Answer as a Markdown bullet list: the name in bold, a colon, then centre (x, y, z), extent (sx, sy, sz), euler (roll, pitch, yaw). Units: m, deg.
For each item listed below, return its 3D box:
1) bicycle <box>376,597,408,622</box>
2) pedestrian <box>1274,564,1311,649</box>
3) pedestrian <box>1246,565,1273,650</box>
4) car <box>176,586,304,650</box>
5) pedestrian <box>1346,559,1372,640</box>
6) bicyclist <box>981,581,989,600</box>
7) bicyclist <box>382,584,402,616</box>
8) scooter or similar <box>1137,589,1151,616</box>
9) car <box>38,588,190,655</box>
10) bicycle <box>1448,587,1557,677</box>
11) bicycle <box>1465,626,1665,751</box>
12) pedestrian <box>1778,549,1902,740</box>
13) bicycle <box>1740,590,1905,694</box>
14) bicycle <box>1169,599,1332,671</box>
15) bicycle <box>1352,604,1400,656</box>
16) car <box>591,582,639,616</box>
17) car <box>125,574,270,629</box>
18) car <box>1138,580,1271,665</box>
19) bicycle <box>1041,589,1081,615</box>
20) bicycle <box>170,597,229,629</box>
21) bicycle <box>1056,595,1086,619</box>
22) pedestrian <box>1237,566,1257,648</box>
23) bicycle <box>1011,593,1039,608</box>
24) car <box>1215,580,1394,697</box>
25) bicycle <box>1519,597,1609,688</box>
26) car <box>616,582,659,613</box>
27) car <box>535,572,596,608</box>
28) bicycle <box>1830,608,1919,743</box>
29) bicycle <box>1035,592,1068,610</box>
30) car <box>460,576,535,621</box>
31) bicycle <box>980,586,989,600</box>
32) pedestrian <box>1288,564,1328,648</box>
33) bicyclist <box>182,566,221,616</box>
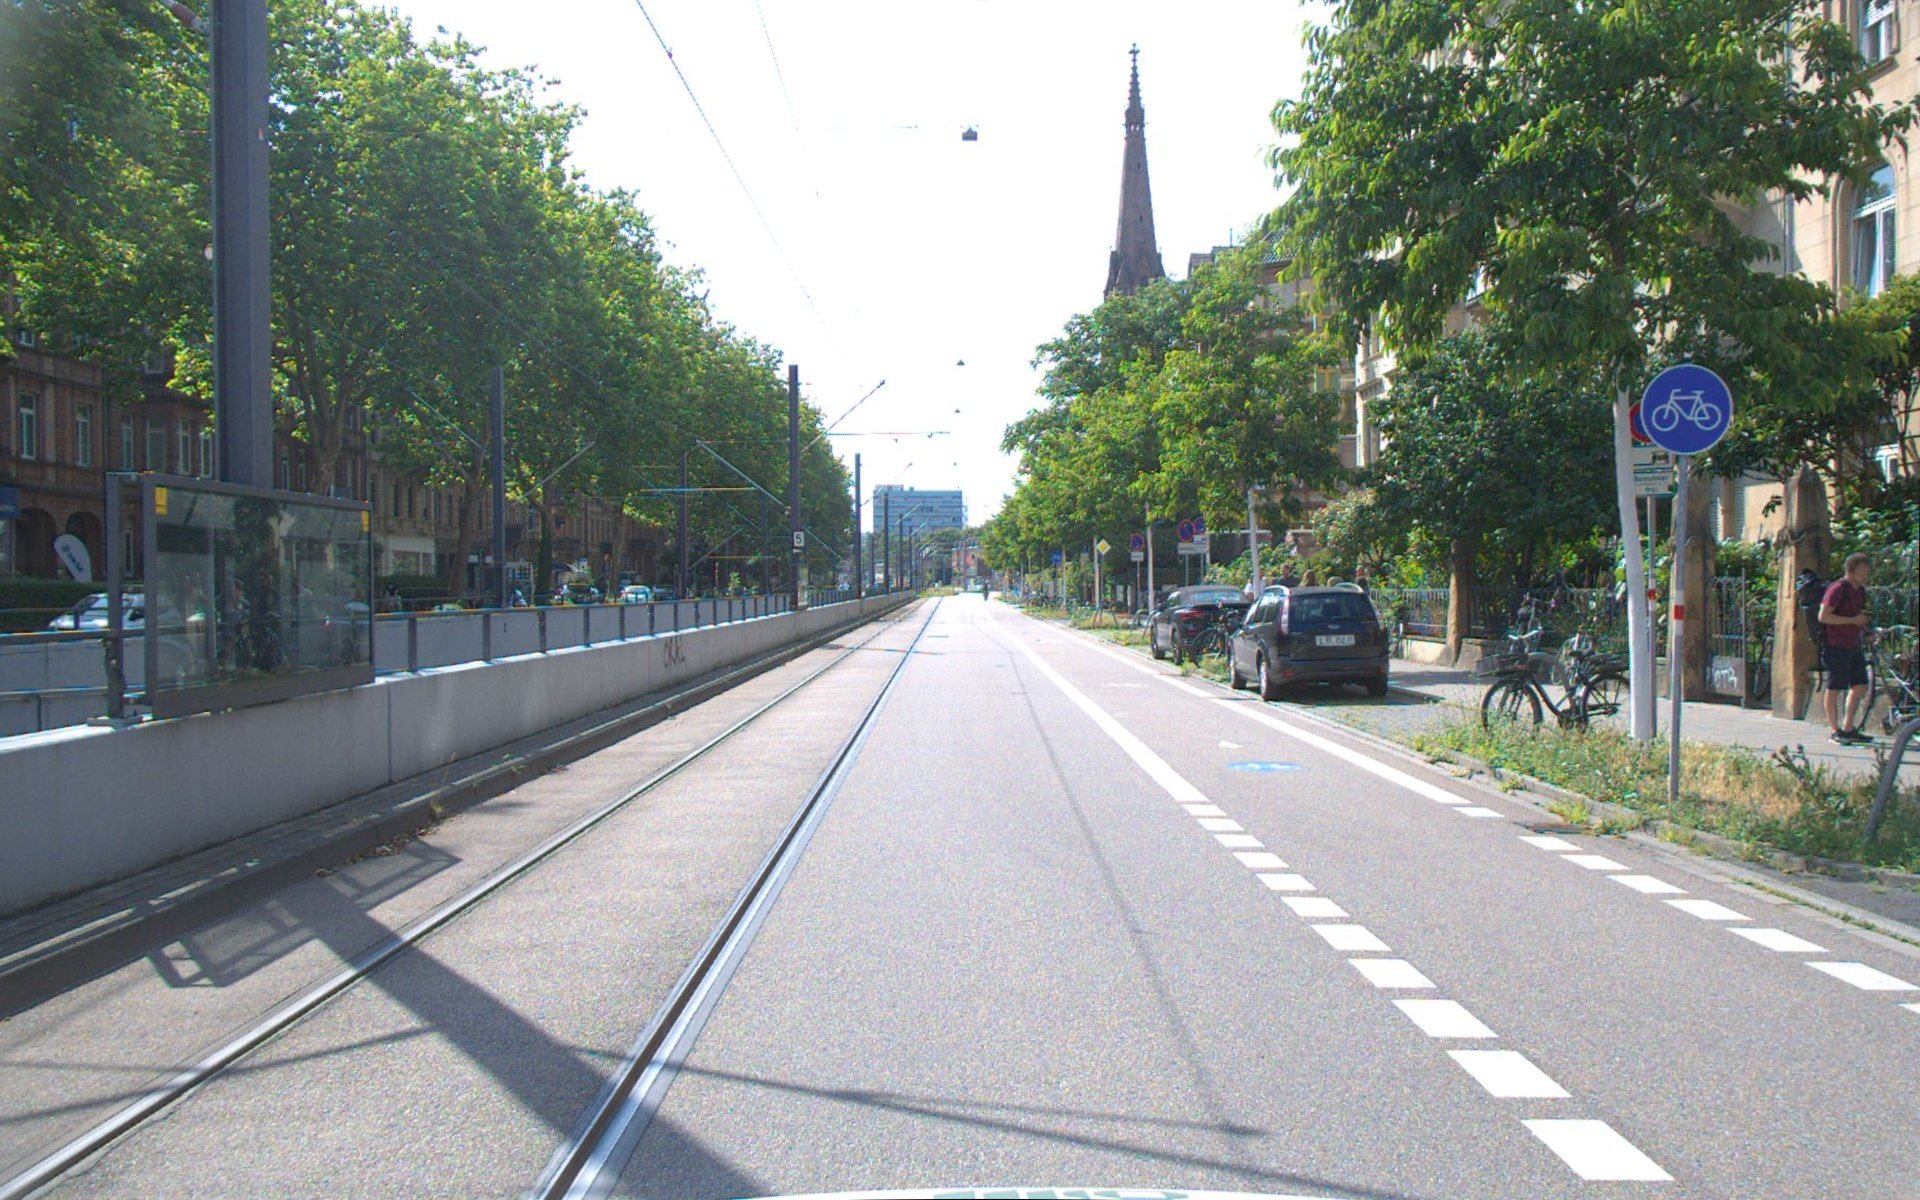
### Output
- **bicycle**: centre (-22.444, 0.370, 65.409), extent (0.524, 0.929, 2.149), euler (-1, 0, 0)
- **pedestrian**: centre (7.271, 0.139, 36.154), extent (0.656, 1.836, 0.319), euler (-3, 0, -2)
- **pedestrian**: centre (6.648, 0.163, 36.678), extent (0.450, 1.836, 0.319), euler (-3, 0, -2)
- **car**: centre (-19.019, 0.430, 43.847), extent (1.610, 1.508, 4.001), euler (-3, 1, -1)
- **pedestrian**: centre (8.682, -0.020, 36.006), extent (0.376, 1.736, 0.431), euler (-3, 0, -1)
- **bicyclist**: centre (2.298, -0.852, 153.075), extent (0.755, 1.760, 1.026), euler (0, 0, 0)
- **bicyclist**: centre (-22.450, -0.015, 65.406), extent (0.524, 1.253, 0.723), euler (0, 0, 0)
- **scooter or similar**: centre (8.498, 0.111, 76.457), extent (0.451, 1.178, 1.573), euler (-2, 0, 0)
- **car**: centre (-18.977, 0.449, 37.238), extent (1.466, 1.326, 3.492), euler (-3, 1, 2)
- **bicycle**: centre (8.298, 0.449, 25.439), extent (0.644, 1.270, 2.943), euler (-3, 0, 0)
- **bicycle**: centre (5.507, 0.793, 15.074), extent (1.673, 1.088, 0.470), euler (-1, 0, -6)
- **pedestrian**: centre (7.866, 0.387, 14.812), extent (0.708, 1.657, 0.725), euler (-1, 0, 0)
- **bicycle**: centre (9.962, 0.475, 19.120), extent (1.673, 1.088, 0.470), euler (-3, 0, -6)
- **bicycle**: centre (5.383, 0.625, 30.658), extent (2.896, 1.268, 0.790), euler (-1, 0, -13)
- **bicycle**: centre (8.180, 0.573, 32.569), extent (0.419, 0.956, 1.807), euler (-3, 0, 0)
- **car**: centre (-19.273, -0.074, 92.498), extent (1.801, 1.758, 4.000), euler (-3, 1, 0)
- **car**: centre (-27.544, 0.045, 59.862), extent (4.313, 1.952, 1.999), euler (0, 0, -2)
- **car**: centre (4.965, 0.412, 34.172), extent (1.763, 1.553, 4.486), euler (-2, 1, -4)
- **bicycle**: centre (4.904, 0.085, 80.296), extent (1.784, 1.165, 0.650), euler (-3, 1, -12)
- **bicycle**: centre (-22.449, 0.372, 48.872), extent (0.657, 0.929, 2.368), euler (-1, 0, 0)
- **bicycle**: centre (5.029, 0.324, 75.123), extent (0.640, 1.057, 1.810), euler (-3, 1, -21)
- **pedestrian**: centre (6.206, 0.143, 35.711), extent (0.311, 1.736, 0.461), euler (-3, 1, 13)
- **bicycle**: centre (4.287, 0.033, 109.115), extent (1.780, 0.918, 0.603), euler (-3, 1, -4)
- **car**: centre (4.903, 0.489, 24.153), extent (1.651, 1.528, 4.708), euler (-1, 0, 0)
- **bicycle**: centre (8.217, 0.554, 22.582), extent (0.419, 1.159, 2.023), euler (-3, 0, 0)
- **car**: centre (-19.945, -0.192, 102.503), extent (1.801, 1.758, 4.000), euler (-3, 1, 0)
- **car**: centre (-20.068, -0.531, 84.311), extent (1.952, 1.665, 4.001), euler (-3, 1, 2)
- **bicycle**: centre (8.369, 0.646, 14.602), extent (0.460, 1.127, 1.711), euler (-1, 0, 0)
- **bicycle**: centre (5.135, 0.064, 92.940), extent (1.780, 0.918, 0.651), euler (-3, 1, -4)
- **car**: centre (-19.333, -0.086, 69.307), extent (1.682, 1.720, 3.733), euler (-2, 1, 6)
- **bicycle**: centre (2.299, -0.652, 153.130), extent (0.782, 1.258, 2.778), euler (0, 0, 0)
- **pedestrian**: centre (7.268, 0.118, 34.542), extent (0.520, 1.705, 0.571), euler (-3, 1, -19)
- **bicyclist**: centre (-22.453, -0.266, 48.958), extent (0.674, 1.481, 1.044), euler (0, 0, 0)
